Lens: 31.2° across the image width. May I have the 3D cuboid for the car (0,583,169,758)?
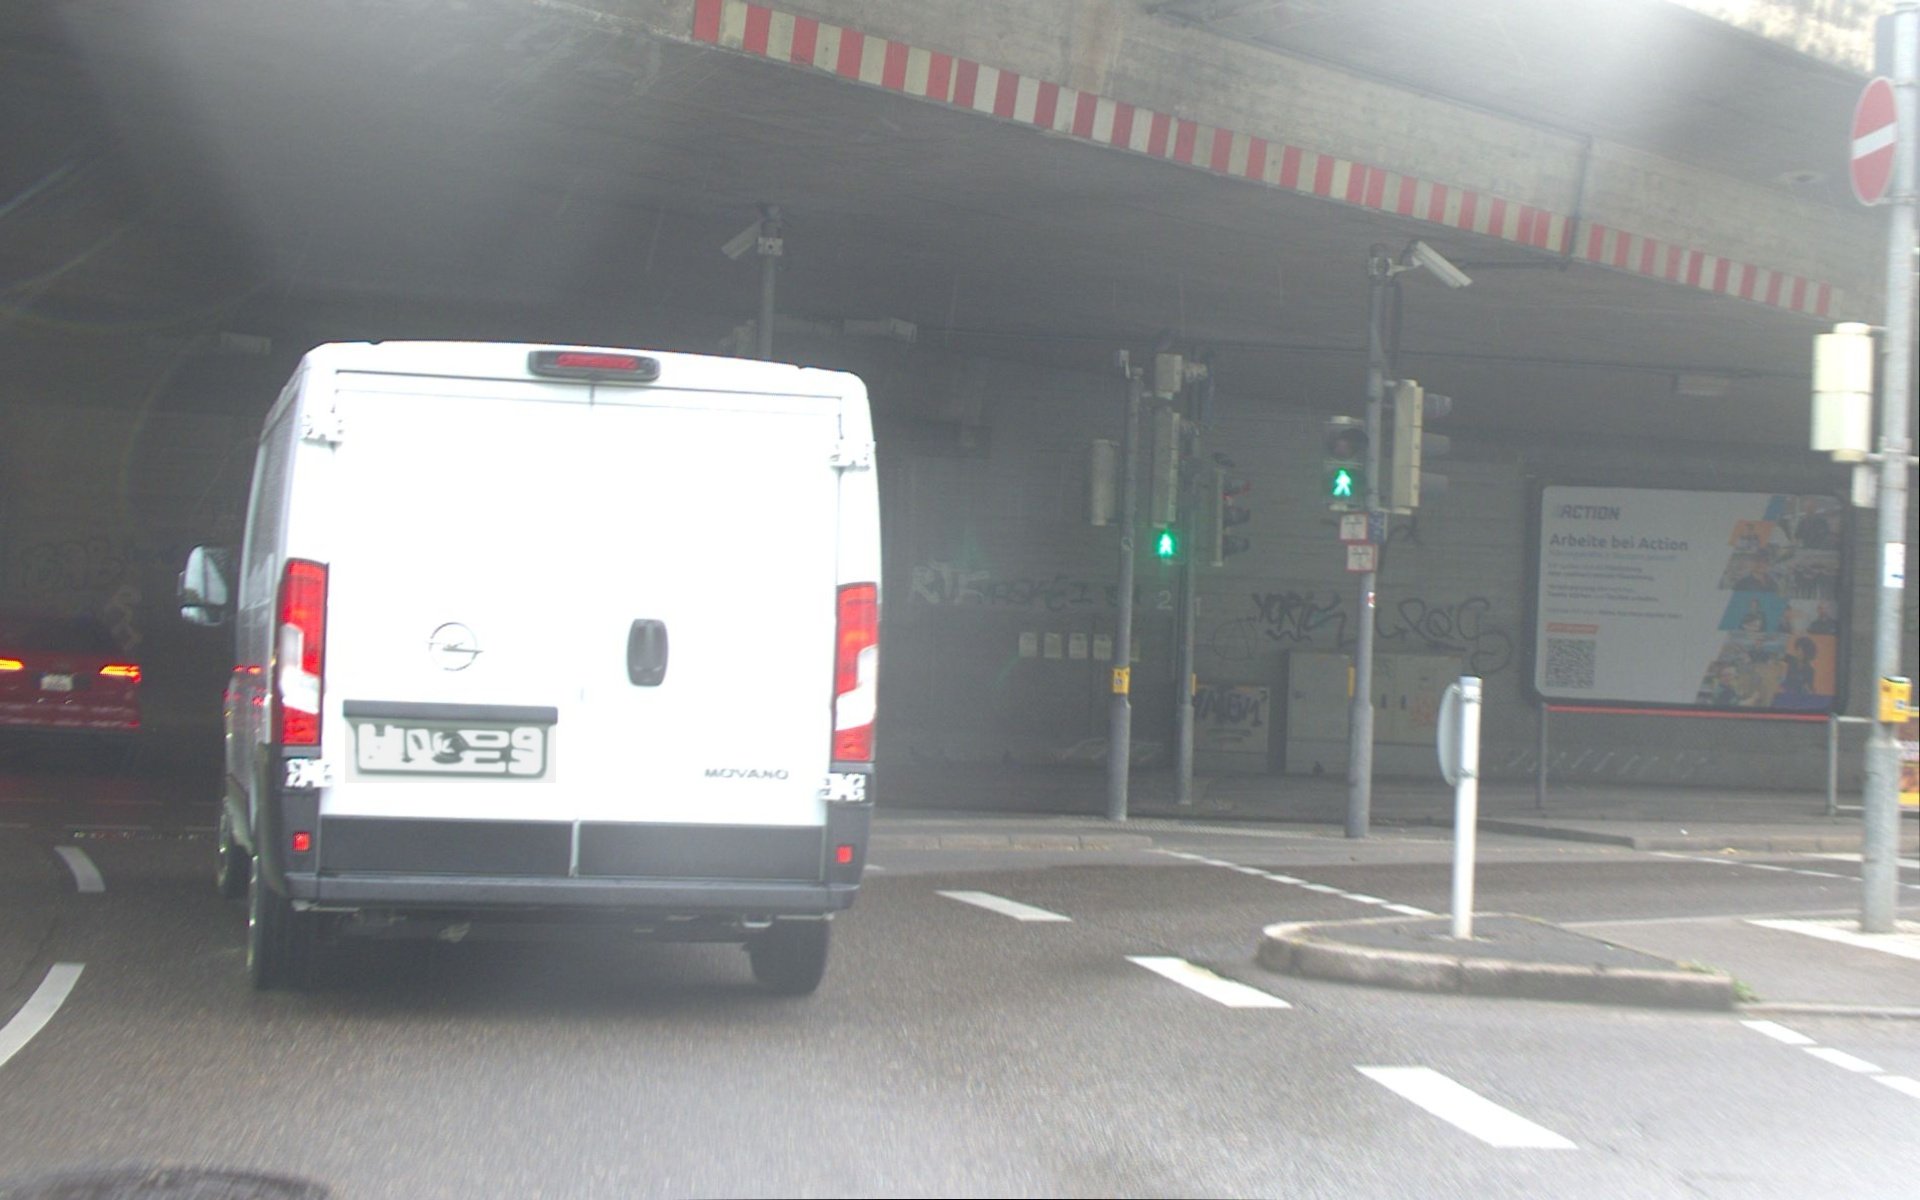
[{"bbox_3d":[-8.652,0.566,30.582,1.836,1.433,4.103,3,-1,-32],"label":"car"}]

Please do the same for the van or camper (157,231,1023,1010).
[{"bbox_3d":[-1.703,0.027,13.544,2.697,2.408,4.905,3,1,-13],"label":"van or camper"}]
